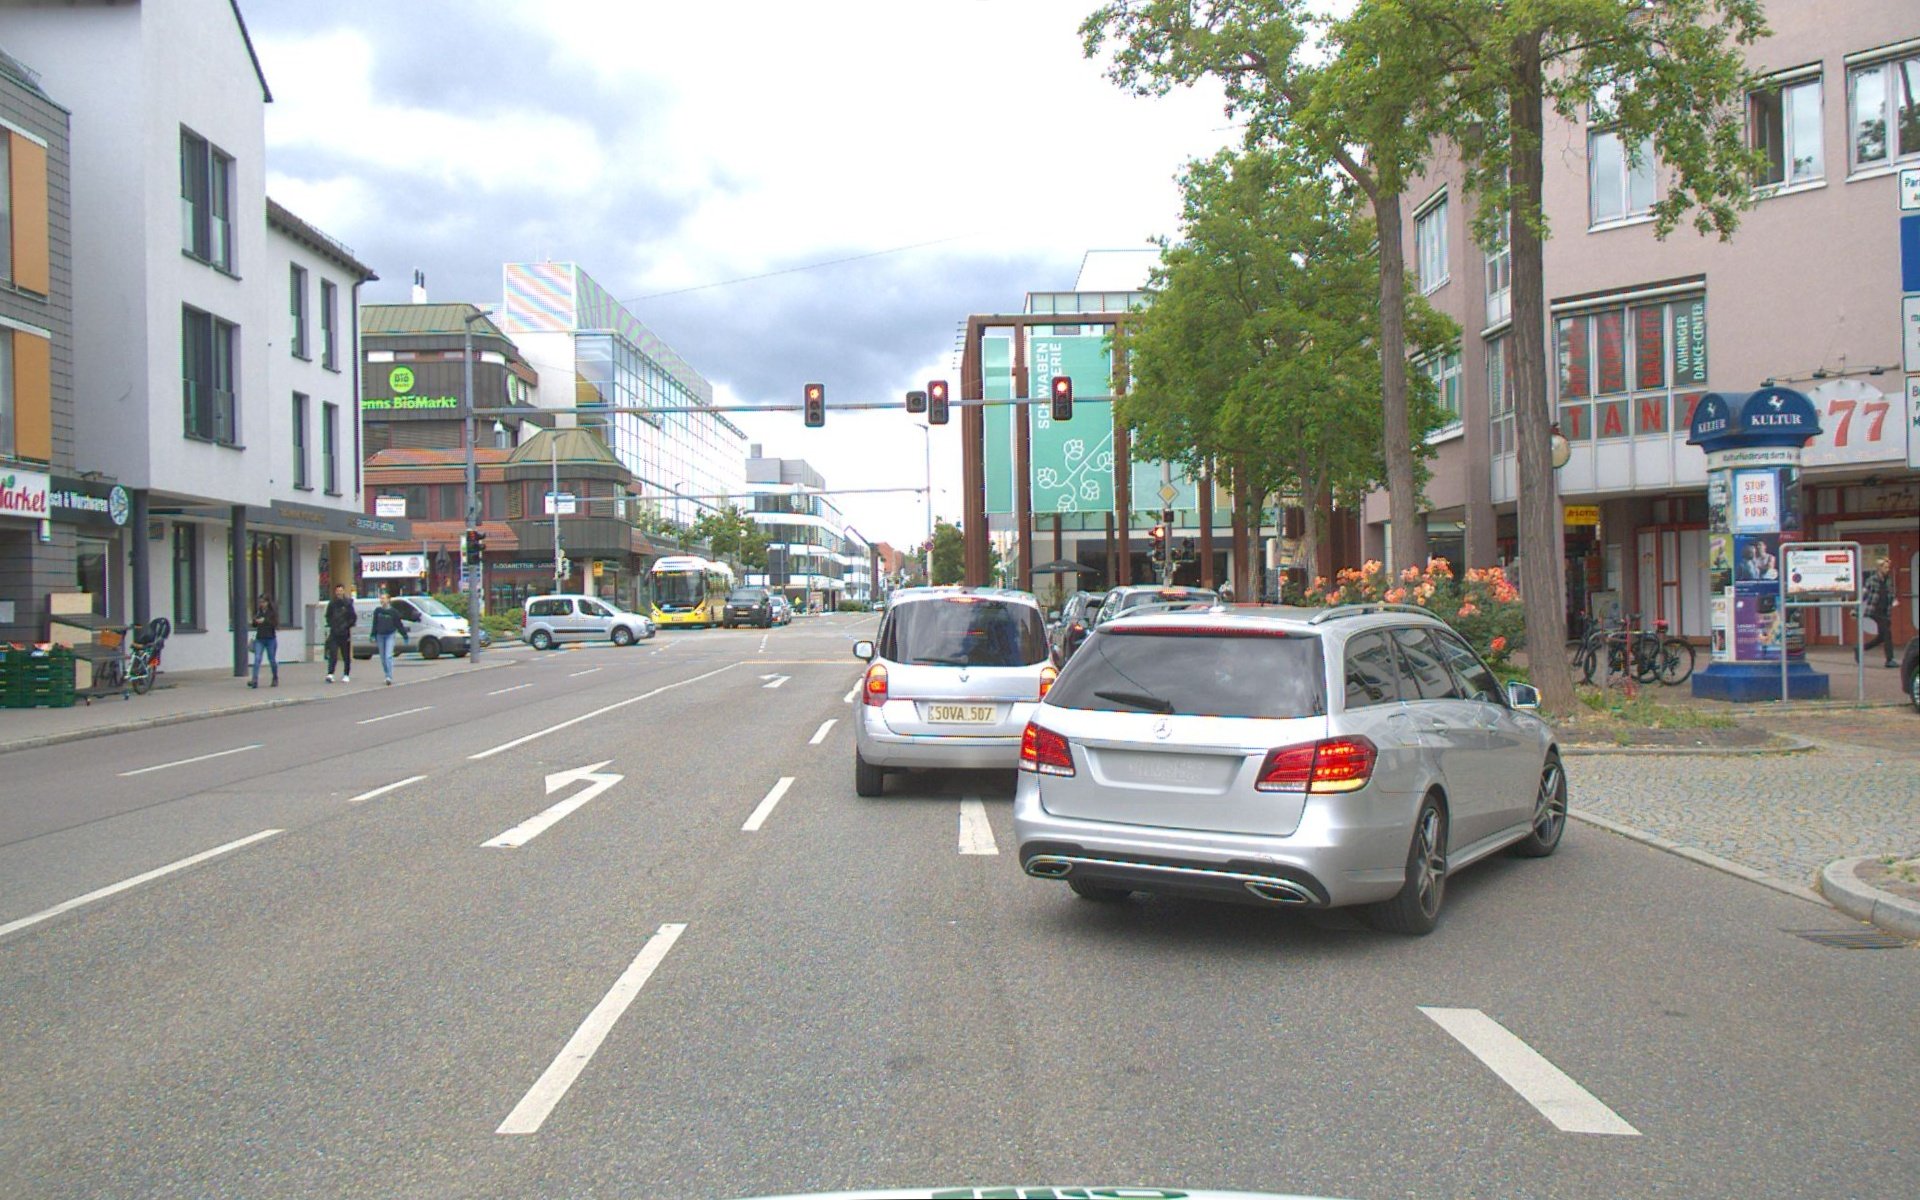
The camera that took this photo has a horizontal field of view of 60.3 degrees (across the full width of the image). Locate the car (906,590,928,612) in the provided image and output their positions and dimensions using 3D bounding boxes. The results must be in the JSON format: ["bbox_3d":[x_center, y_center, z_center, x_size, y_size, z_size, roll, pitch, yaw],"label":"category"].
[{"bbox_3d":[-3.975,0.058,151.127,1.953,1.983,4.949,-1,0,-2],"label":"car"}]

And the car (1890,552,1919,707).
[{"bbox_3d":[12.446,0.336,18.476,1.605,1.863,3.963,-2,0,-5],"label":"car"}]

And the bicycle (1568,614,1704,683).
[{"bbox_3d":[10.354,0.744,25.354,1.861,1.014,0.468,-1,0,3],"label":"bicycle"}]

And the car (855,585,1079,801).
[{"bbox_3d":[0.028,0.663,13.609,1.606,1.554,3.393,0,0,-1],"label":"car"}]

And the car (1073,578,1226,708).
[{"bbox_3d":[2.601,0.550,23.440,1.555,1.662,3.915,1,0,-2],"label":"car"}]

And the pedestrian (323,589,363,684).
[{"bbox_3d":[-11.820,0.691,31.689,0.558,1.806,0.646,-1,0,-7],"label":"pedestrian"}]

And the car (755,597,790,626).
[{"bbox_3d":[-9.636,0.574,85.324,1.524,1.417,3.286,-1,0,-2],"label":"car"}]

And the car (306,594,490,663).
[{"bbox_3d":[-17.496,0.884,51.593,5.031,1.921,2.002,-2,0,11],"label":"car"}]

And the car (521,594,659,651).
[{"bbox_3d":[-12.343,0.727,55.315,4.296,1.804,1.327,-1,0,-1],"label":"car"}]

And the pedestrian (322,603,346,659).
[{"bbox_3d":[-18.958,0.934,50.063,0.653,1.678,0.788,-1,0,-22],"label":"pedestrian"}]

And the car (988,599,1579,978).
[{"bbox_3d":[1.993,0.770,8.892,1.781,1.474,4.360,1,0,30],"label":"car"}]

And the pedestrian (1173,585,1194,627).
[{"bbox_3d":[8.905,0.230,65.932,0.641,1.679,0.557,-1,0,-15],"label":"pedestrian"}]

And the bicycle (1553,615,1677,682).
[{"bbox_3d":[10.250,0.761,25.907,1.731,1.014,0.447,-1,0,3],"label":"bicycle"}]

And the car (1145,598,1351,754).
[{"bbox_3d":[2.957,0.728,17.565,1.554,1.468,3.348,1,0,-1],"label":"car"}]

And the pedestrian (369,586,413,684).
[{"bbox_3d":[-10.774,0.656,31.339,0.669,1.821,0.647,-1,0,-11],"label":"pedestrian"}]

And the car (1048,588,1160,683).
[{"bbox_3d":[2.587,0.610,30.450,1.555,1.623,3.866,1,0,-2],"label":"car"}]

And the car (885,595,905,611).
[{"bbox_3d":[-6.404,0.295,162.708,1.764,1.567,4.065,-1,0,1],"label":"car"}]

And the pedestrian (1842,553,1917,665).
[{"bbox_3d":[15.293,0.150,27.523,0.773,1.824,0.819,-1,0,-1],"label":"pedestrian"}]

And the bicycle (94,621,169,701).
[{"bbox_3d":[-13.402,0.970,26.797,0.378,1.207,1.824,-1,0,-4],"label":"bicycle"}]

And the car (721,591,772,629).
[{"bbox_3d":[-9.981,0.443,77.598,1.953,1.736,4.063,-1,0,-2],"label":"car"}]

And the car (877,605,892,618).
[{"bbox_3d":[-10.077,1.522,219.929,1.764,1.567,4.065,-1,0,1],"label":"car"}]

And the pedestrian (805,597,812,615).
[{"bbox_3d":[-14.999,0.586,163.695,0.478,1.764,0.521,-1,0,23],"label":"pedestrian"}]

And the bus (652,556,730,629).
[{"bbox_3d":[-12.963,-0.367,80.327,2.632,3.318,8.650,-1,0,-2],"label":"bus"}]

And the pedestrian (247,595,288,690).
[{"bbox_3d":[-12.429,0.748,29.693,0.643,1.679,0.555,-1,0,-25],"label":"pedestrian"}]
